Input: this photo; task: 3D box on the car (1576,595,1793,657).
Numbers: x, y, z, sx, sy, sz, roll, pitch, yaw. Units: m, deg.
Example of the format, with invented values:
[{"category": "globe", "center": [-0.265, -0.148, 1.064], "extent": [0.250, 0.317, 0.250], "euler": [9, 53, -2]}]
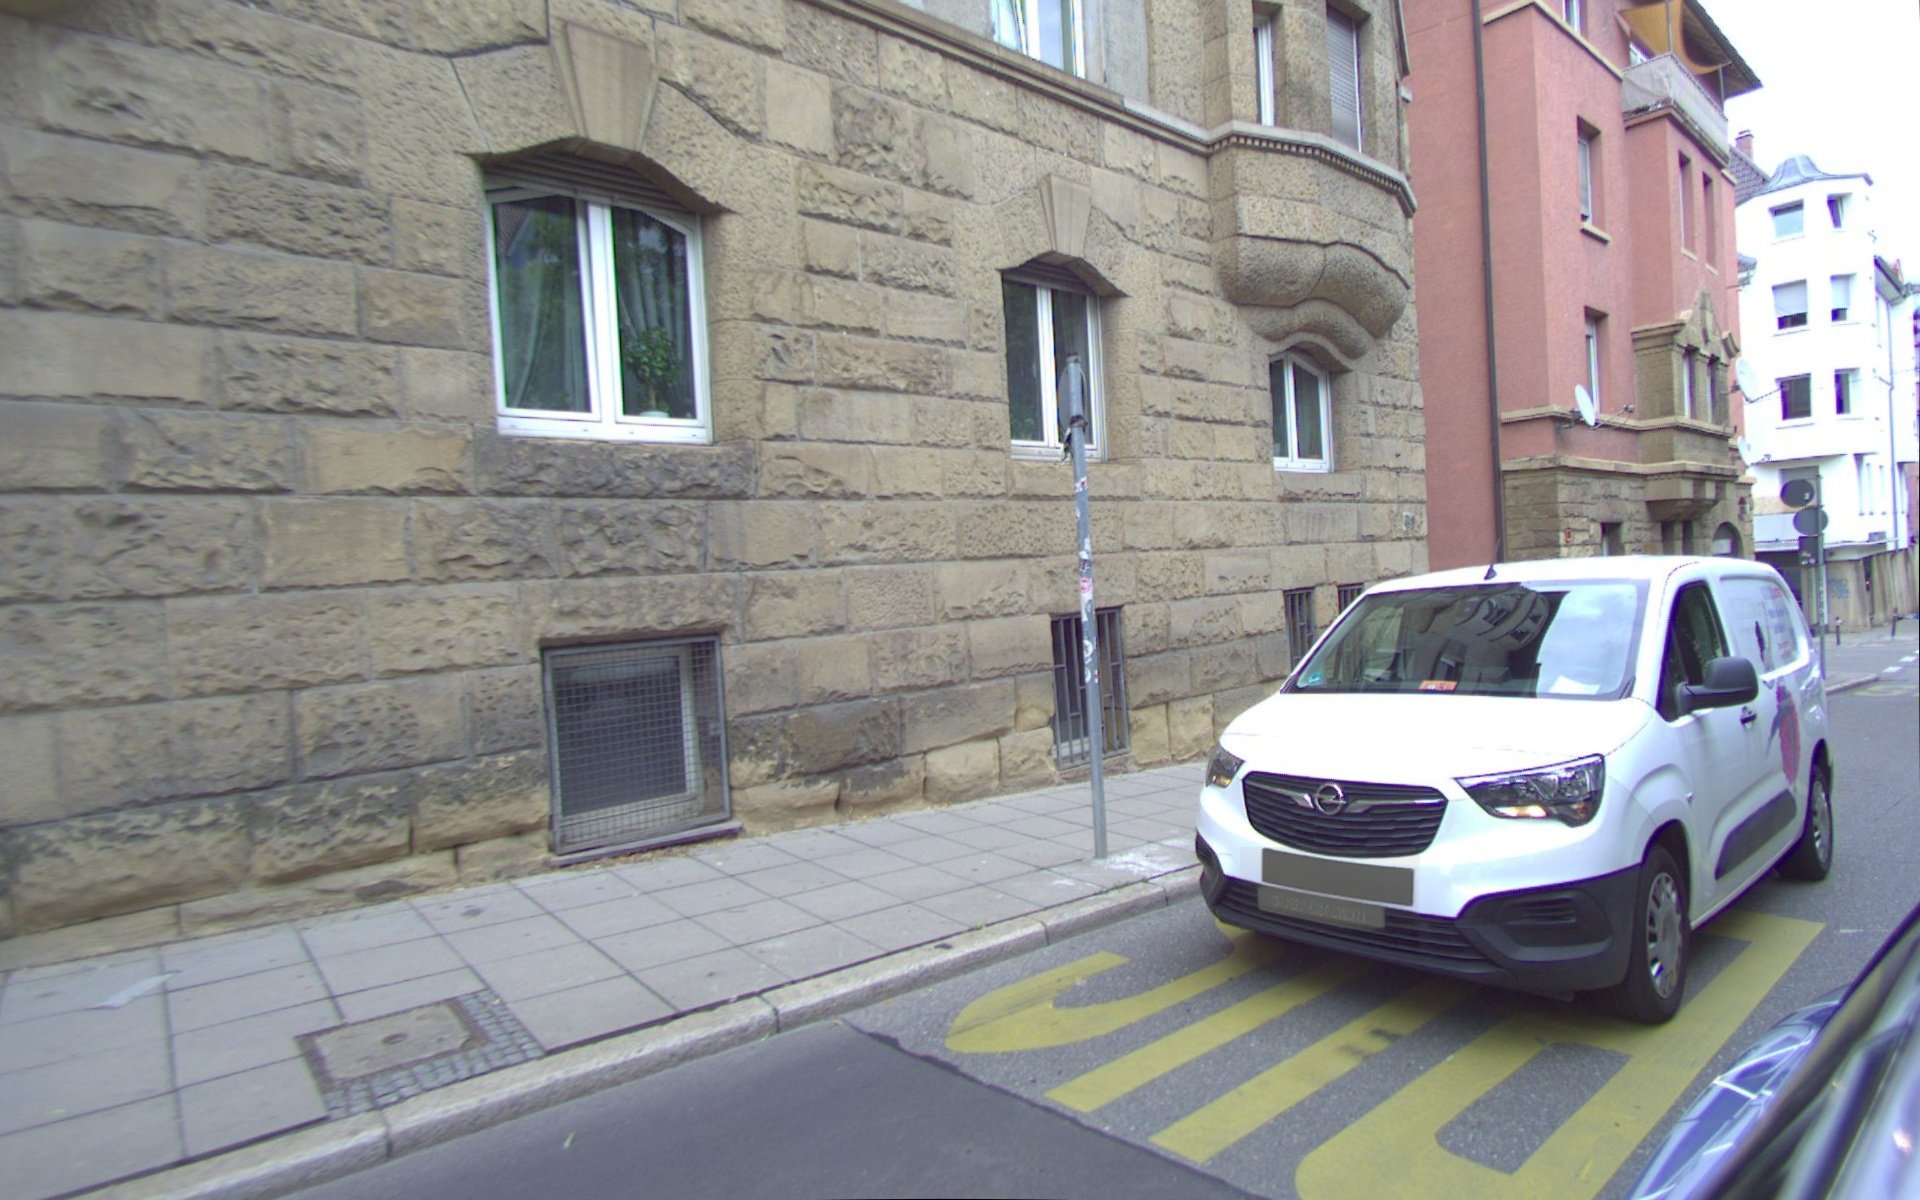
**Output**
[{"category": "car", "center": [22.411, 0.846, 31.456], "extent": [2.203, 1.570, 5.125], "euler": [-2, -3, -45]}]

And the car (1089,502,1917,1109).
[{"category": "car", "center": [3.143, 0.564, 5.317], "extent": [4.928, 1.848, 1.854], "euler": [-3, -1, -37]}]
